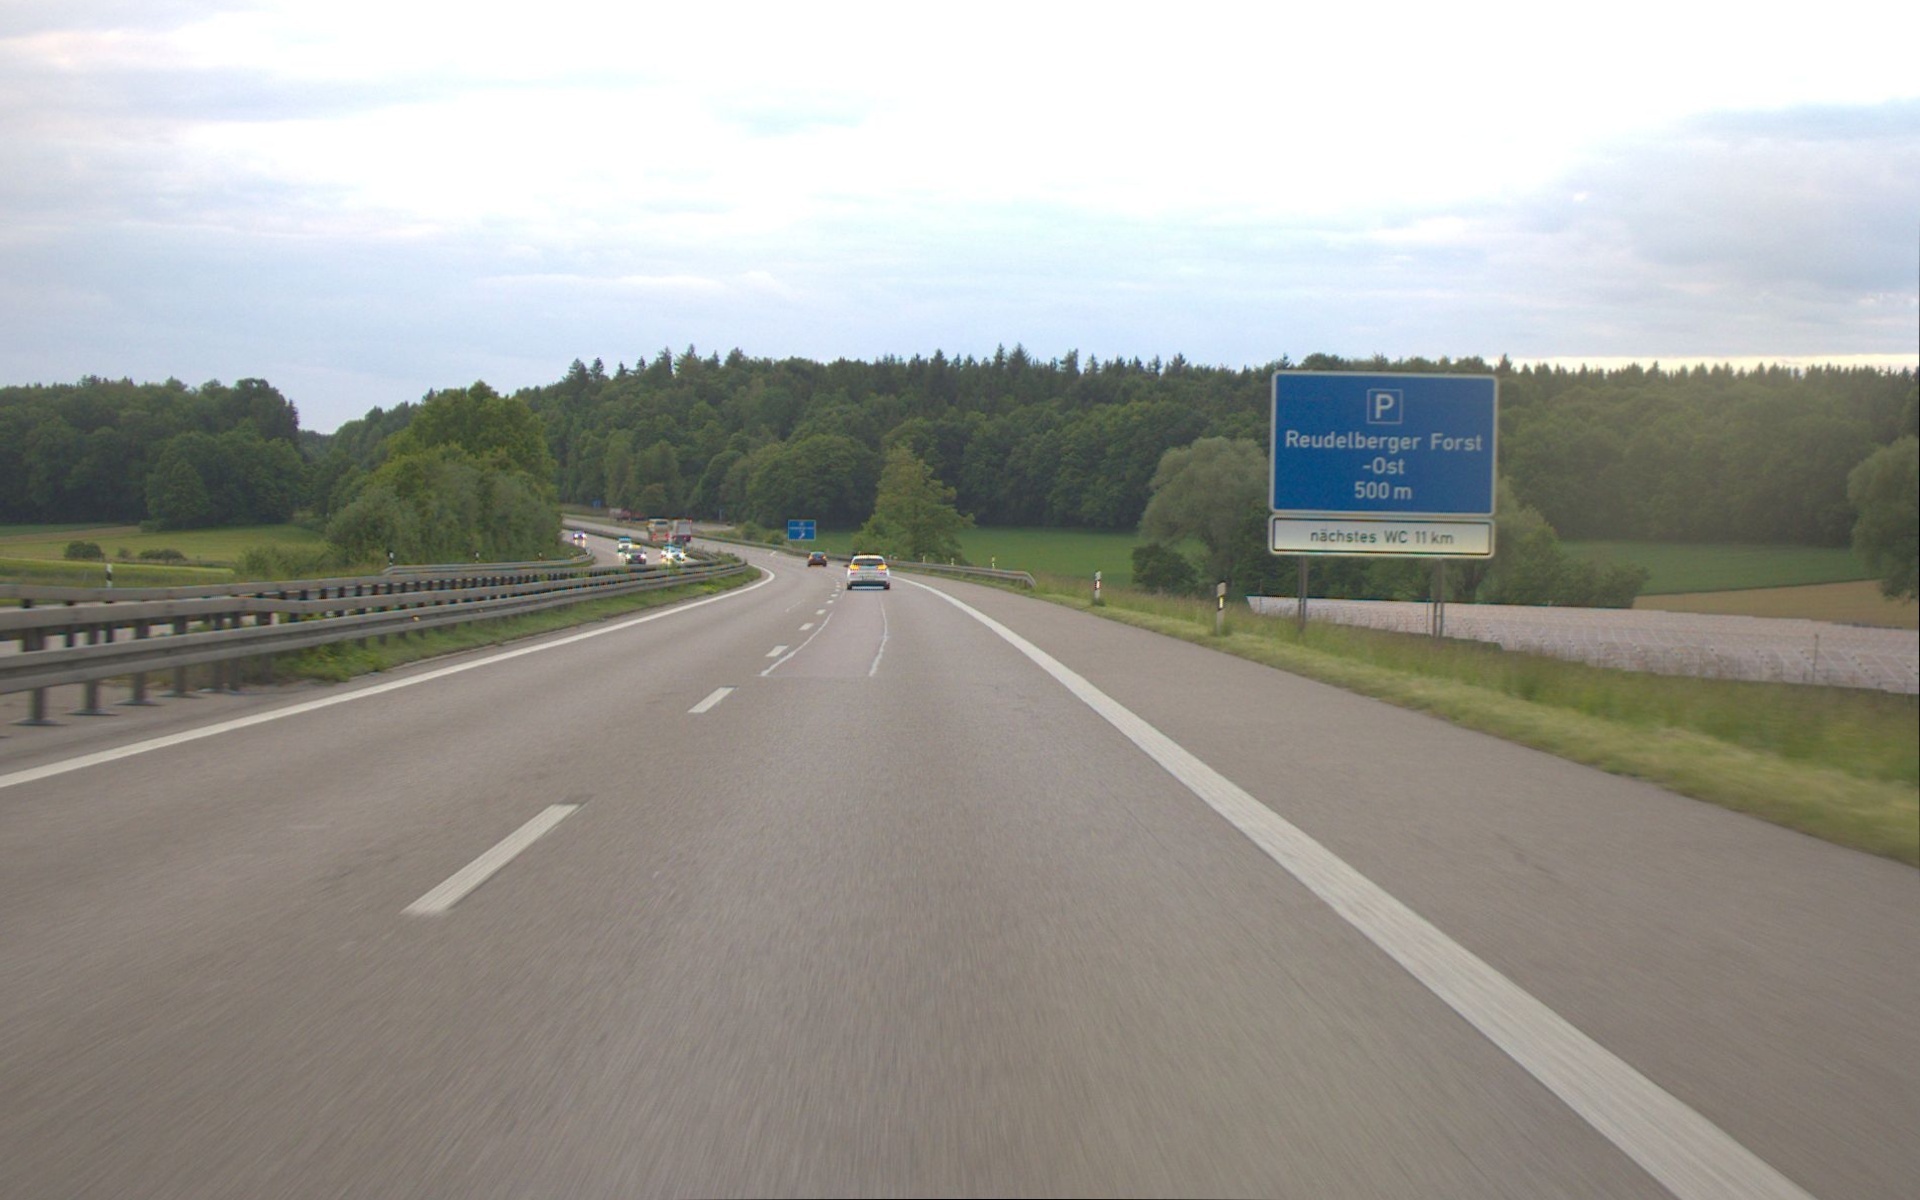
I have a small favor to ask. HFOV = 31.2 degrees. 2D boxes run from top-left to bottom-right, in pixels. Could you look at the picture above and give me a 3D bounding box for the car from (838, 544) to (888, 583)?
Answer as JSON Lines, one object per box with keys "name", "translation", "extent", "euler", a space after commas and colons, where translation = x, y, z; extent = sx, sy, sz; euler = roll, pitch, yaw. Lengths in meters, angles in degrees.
{"name": "car", "translation": [-4.103, -1.551, 145.006], "extent": [1.951, 1.526, 4.081], "euler": [3, 1, -3]}
